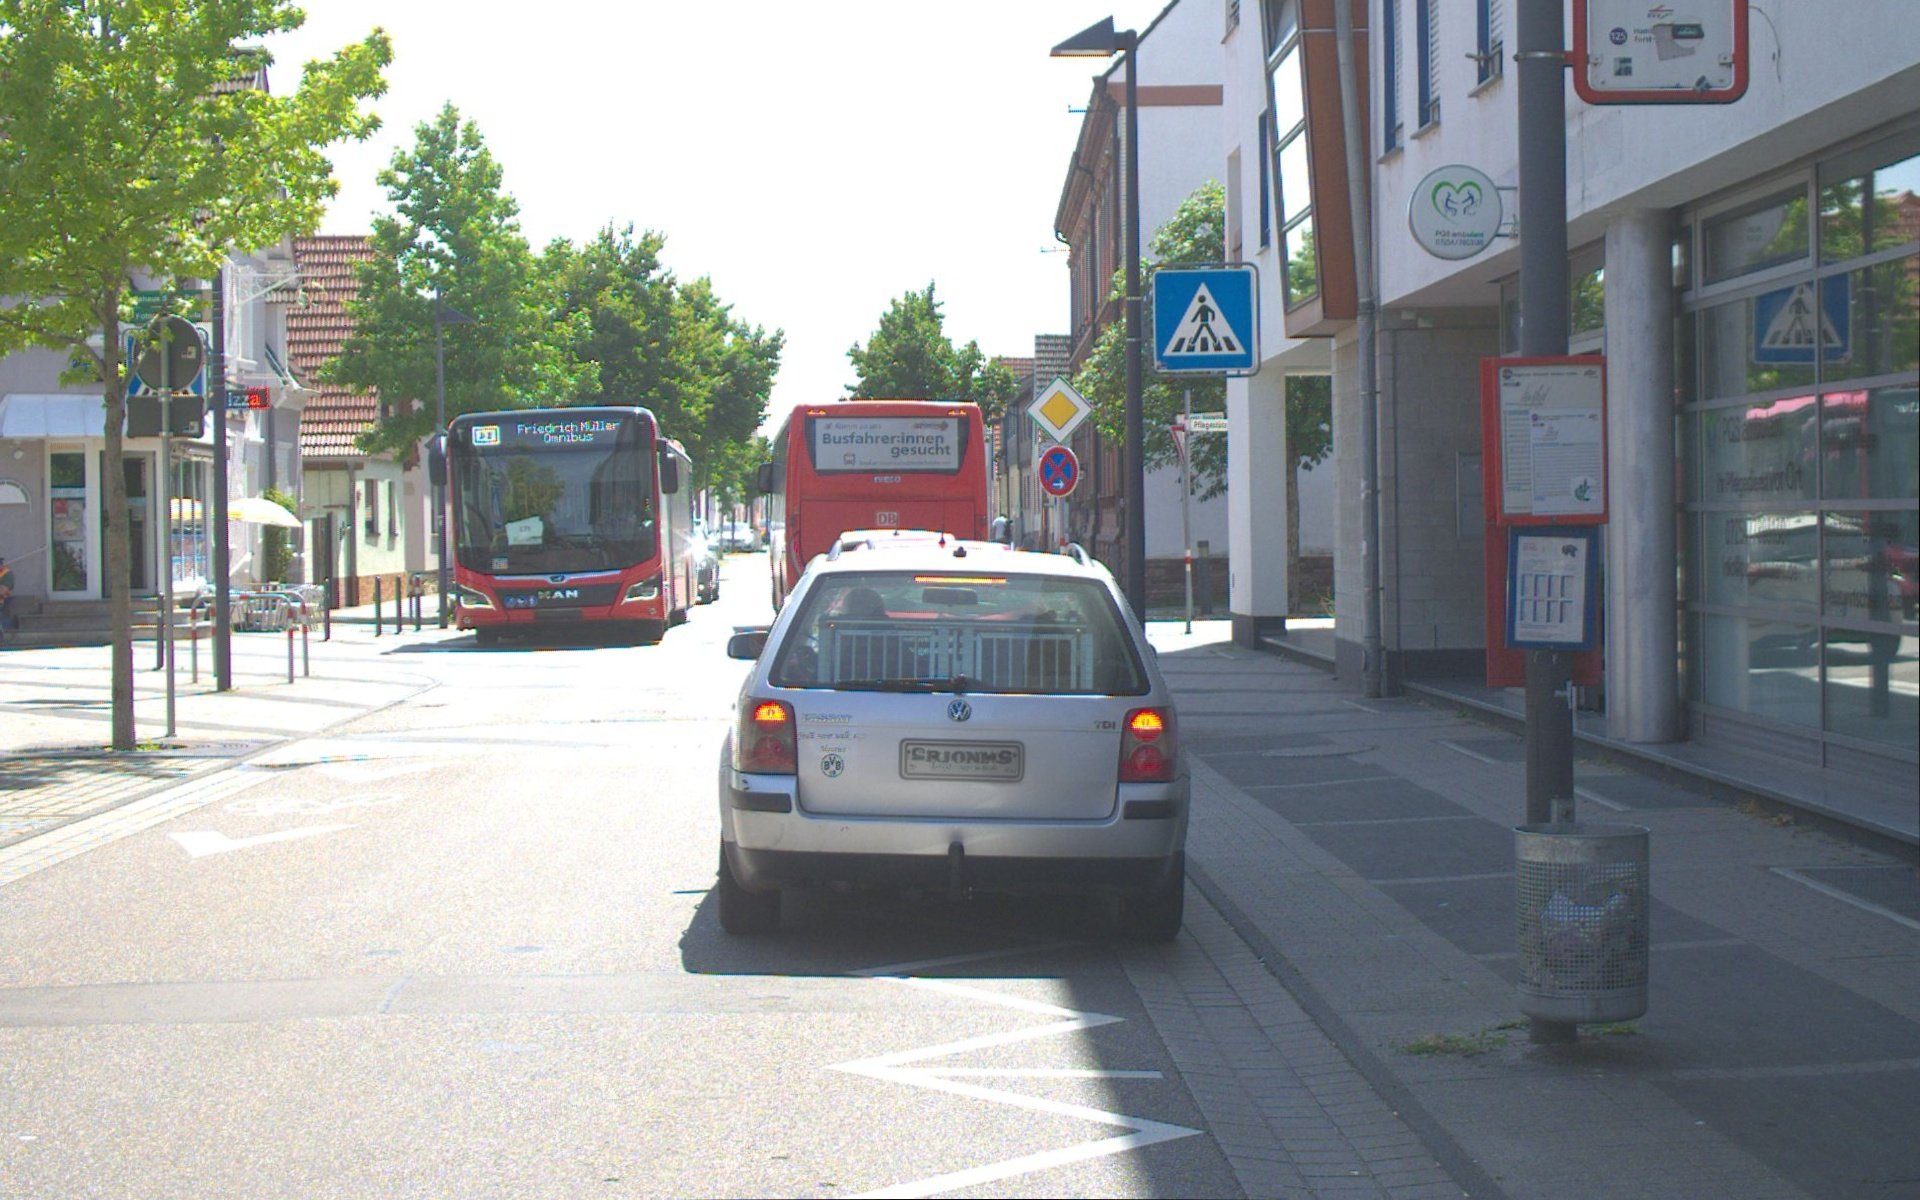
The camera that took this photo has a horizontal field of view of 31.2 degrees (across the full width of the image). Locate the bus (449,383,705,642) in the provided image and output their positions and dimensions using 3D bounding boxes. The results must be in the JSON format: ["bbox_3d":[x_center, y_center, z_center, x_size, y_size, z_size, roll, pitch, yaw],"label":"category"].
[{"bbox_3d":[-5.296,-1.248,50.595,2.668,3.113,17.809,-1,1,-3],"label":"bus"}]

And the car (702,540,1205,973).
[{"bbox_3d":[-0.070,0.503,13.560,1.677,1.425,3.680,1,1,-2],"label":"car"}]

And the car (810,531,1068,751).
[{"bbox_3d":[-0.184,0.232,24.238,1.677,1.425,3.680,0,1,-1],"label":"car"}]

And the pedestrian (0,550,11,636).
[{"bbox_3d":[-13.506,-0.096,47.507,0.622,1.175,0.697,-1,1,-5],"label":"pedestrian"}]

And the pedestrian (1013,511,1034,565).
[{"bbox_3d":[1.943,-1.897,105.251,0.606,1.661,0.789,-1,1,-3],"label":"pedestrian"}]

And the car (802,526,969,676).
[{"bbox_3d":[-0.739,-0.029,35.112,1.593,1.425,3.680,1,1,0],"label":"car"}]

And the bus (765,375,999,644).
[{"bbox_3d":[-1.310,-1.216,48.523,2.740,3.287,12.707,0,1,-4],"label":"bus"}]

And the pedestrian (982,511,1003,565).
[{"bbox_3d":[1.005,-1.908,106.319,0.606,1.661,0.789,-1,1,-3],"label":"pedestrian"}]
